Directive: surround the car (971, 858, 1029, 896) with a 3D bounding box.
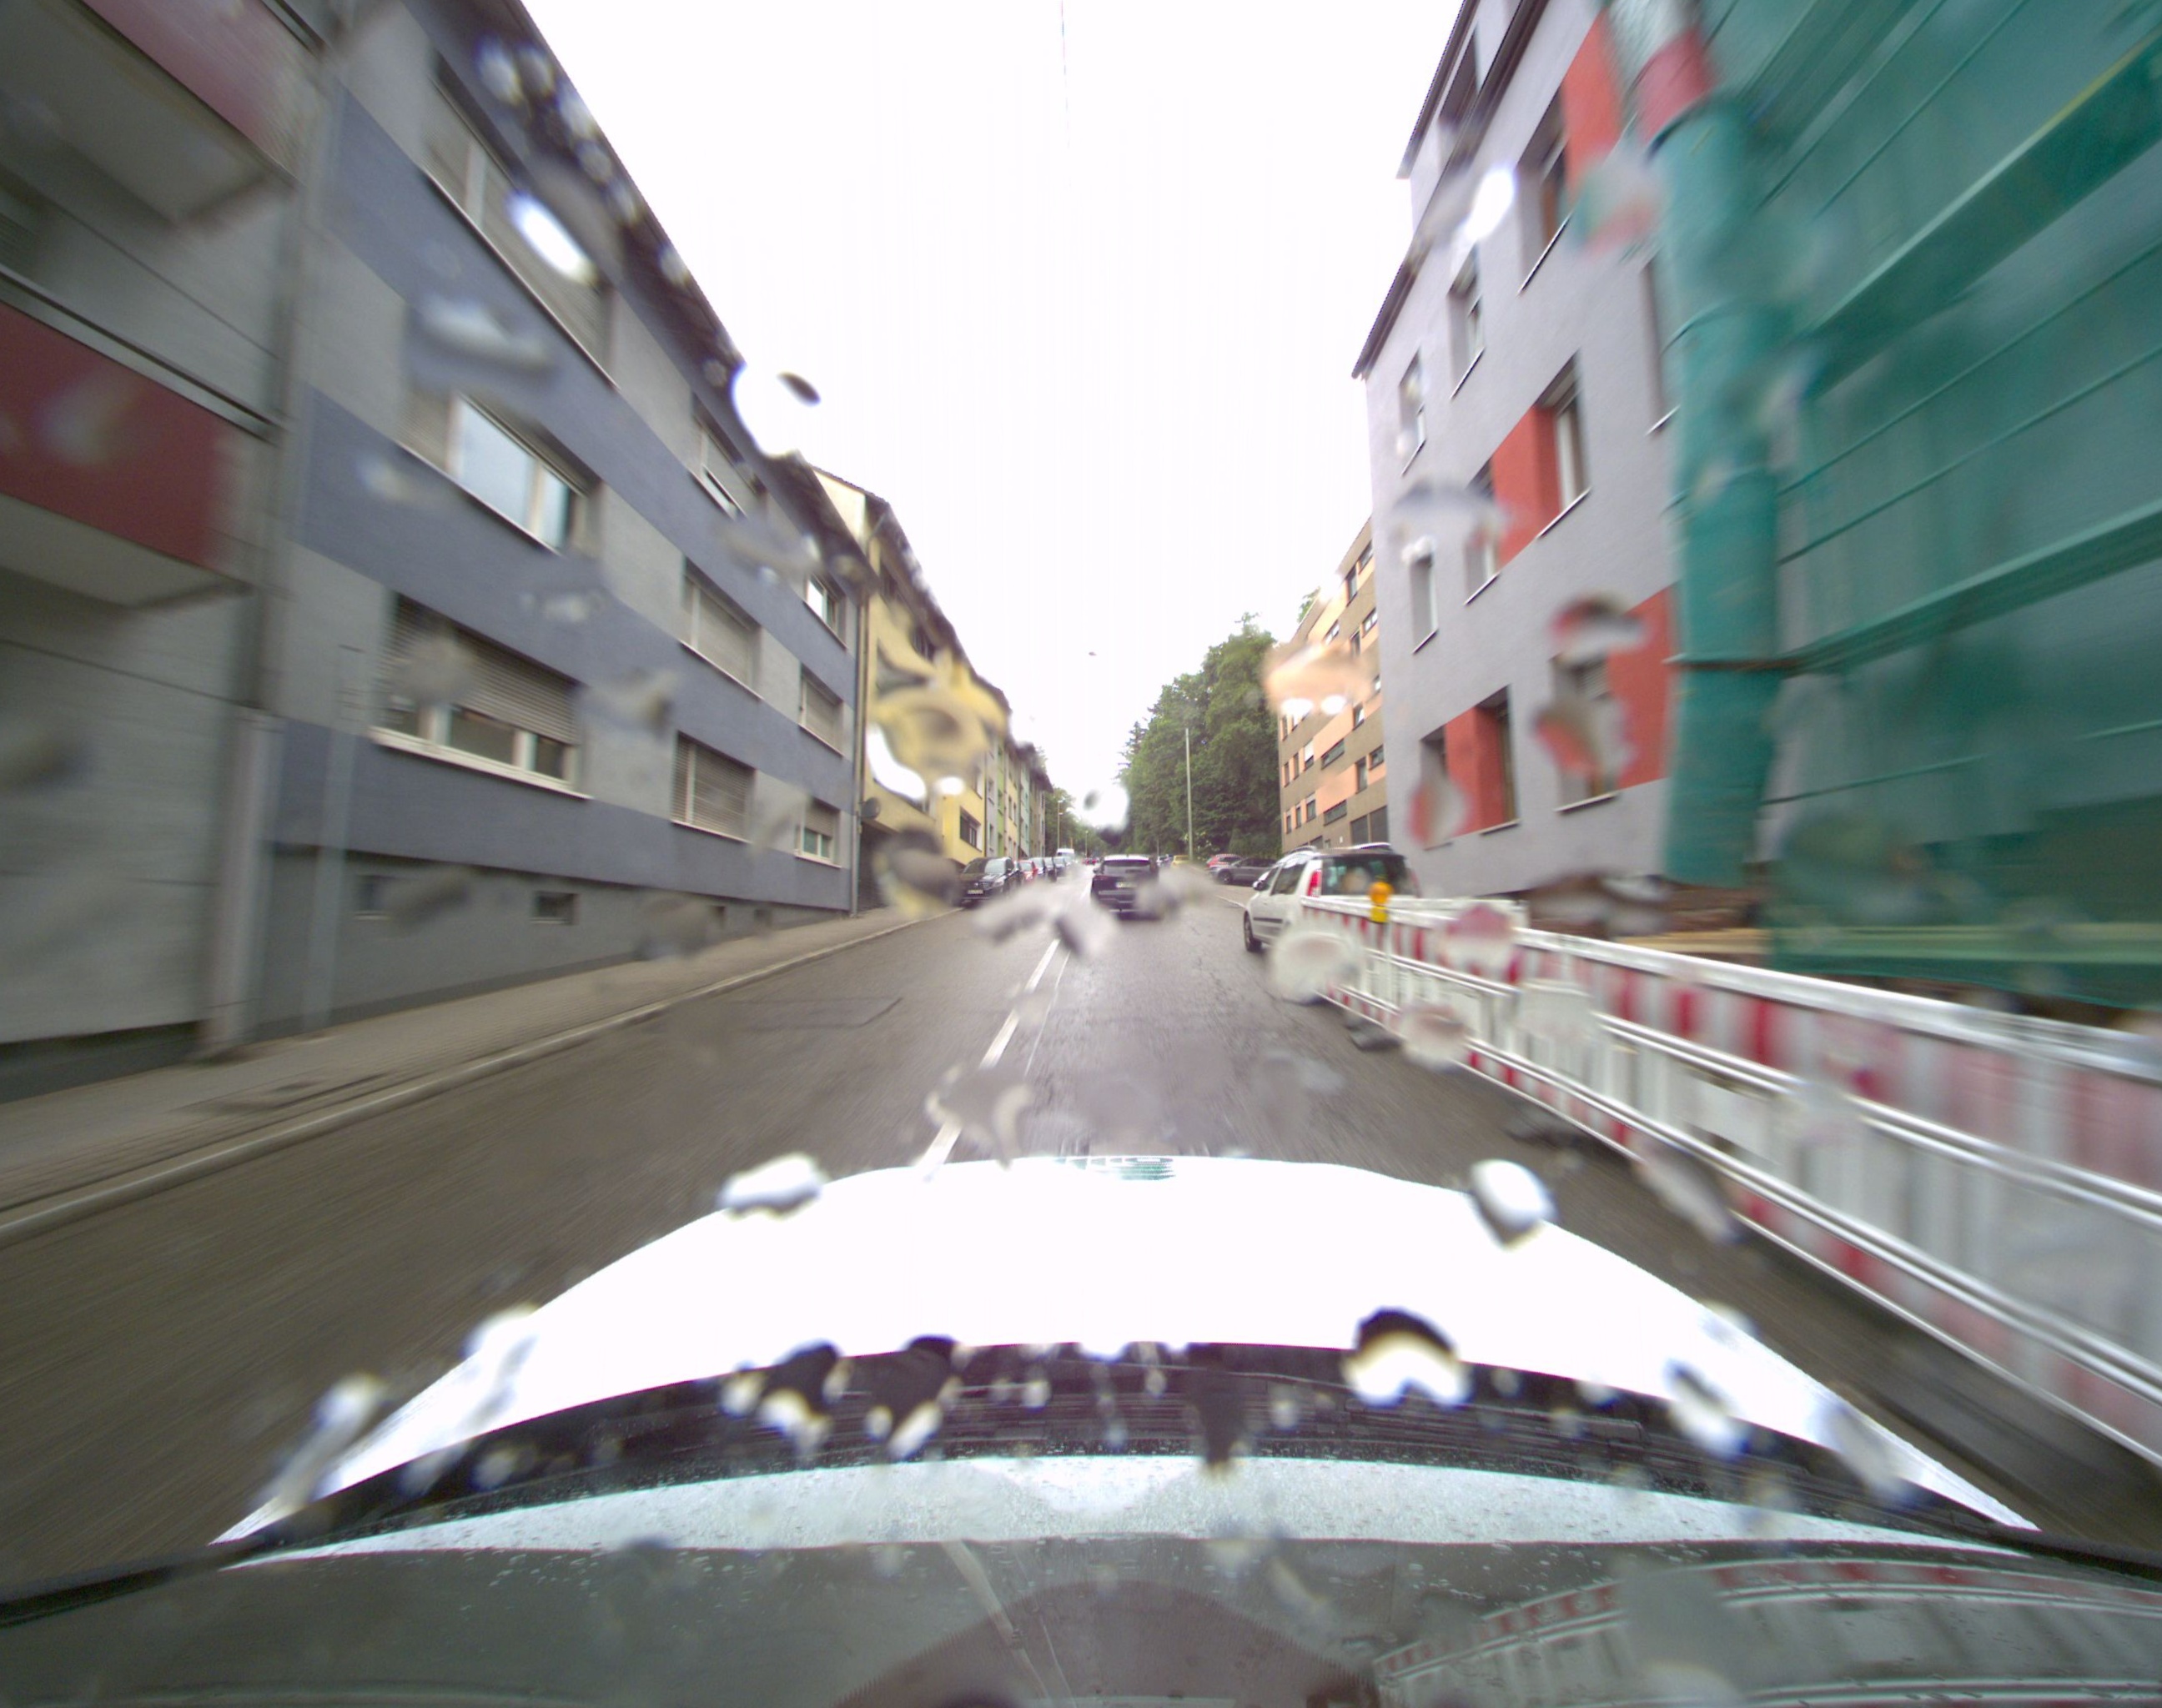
[{"bbox_3d":[-3.389,0.933,34.919,1.987,1.472,4.348,-1,0,0],"label":"car"}]

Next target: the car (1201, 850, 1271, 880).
[{"bbox_3d":[10.038,0.716,52.984,4.188,1.734,1.758,2,0,-3],"label":"car"}]

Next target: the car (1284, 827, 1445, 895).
[{"bbox_3d":[8.934,0.204,25.942,4.328,1.529,1.876,-8,0,0],"label":"car"}]

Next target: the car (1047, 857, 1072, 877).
[{"bbox_3d":[-1.821,1.106,71.096,1.984,1.585,4.305,-1,0,0],"label":"car"}]

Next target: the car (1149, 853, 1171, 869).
[{"bbox_3d":[8.311,0.745,85.988,1.805,1.530,4.415,-3,0,-1],"label":"car"}]

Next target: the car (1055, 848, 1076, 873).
[{"bbox_3d":[-1.558,0.660,83.902,1.984,2.475,5.784,-1,0,0],"label":"car"}]

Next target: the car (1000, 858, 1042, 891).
[{"bbox_3d":[-2.876,0.944,39.346,1.722,1.472,3.491,-1,0,0],"label":"car"}]

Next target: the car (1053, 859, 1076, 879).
[{"bbox_3d":[-1.544,1.374,77.113,1.984,1.755,4.480,-1,0,0],"label":"car"}]

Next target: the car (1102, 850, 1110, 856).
[{"bbox_3d":[7.052,-0.338,228.736,1.985,1.560,4.003,-2,-2,3],"label":"car"}]

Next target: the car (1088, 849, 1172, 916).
[{"bbox_3d":[1.215,0.658,21.298,1.986,1.559,4.001,1,0,1],"label":"car"}]

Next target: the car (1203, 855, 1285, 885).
[{"bbox_3d":[9.049,0.901,45.308,4.185,1.496,1.759,2,0,-1],"label":"car"}]

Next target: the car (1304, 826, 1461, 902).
[{"bbox_3d":[8.724,0.275,23.769,3.815,1.702,1.728,-7,0,-1],"label":"car"}]

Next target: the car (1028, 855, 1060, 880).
[{"bbox_3d":[-2.401,0.850,53.343,1.847,1.585,4.305,-1,0,0],"label":"car"}]

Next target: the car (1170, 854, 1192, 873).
[{"bbox_3d":[8.416,0.750,68.645,1.626,1.530,4.004,1,0,4],"label":"car"}]

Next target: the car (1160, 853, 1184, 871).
[{"bbox_3d":[8.414,0.698,75.613,1.804,1.530,4.417,-3,0,1],"label":"car"}]

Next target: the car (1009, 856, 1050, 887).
[{"bbox_3d":[-2.850,0.954,46.208,1.987,1.585,4.471,-1,0,0],"label":"car"}]

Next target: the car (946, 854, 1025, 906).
[{"bbox_3d":[-3.298,0.857,29.032,1.985,1.650,4.446,-1,0,4],"label":"car"}]

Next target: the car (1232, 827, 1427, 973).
[{"bbox_3d":[3.406,0.545,11.927,1.634,1.762,4.000,1,0,0],"label":"car"}]

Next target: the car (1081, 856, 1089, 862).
[{"bbox_3d":[1.031,1.237,198.373,2.068,1.559,4.000,0,0,0],"label":"car"}]

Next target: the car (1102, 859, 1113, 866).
[{"bbox_3d":[5.727,1.807,176.985,2.069,1.559,3.997,0,0,-2],"label":"car"}]

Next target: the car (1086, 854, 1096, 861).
[{"bbox_3d":[2.152,0.740,175.383,2.068,1.559,3.999,0,0,0],"label":"car"}]

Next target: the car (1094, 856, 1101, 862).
[{"bbox_3d":[5.101,1.517,250.438,1.985,1.560,4.003,-2,-2,3],"label":"car"}]

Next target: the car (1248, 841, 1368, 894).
[{"bbox_3d":[8.593,0.501,31.004,3.952,1.530,1.691,-6,0,-3],"label":"car"}]
